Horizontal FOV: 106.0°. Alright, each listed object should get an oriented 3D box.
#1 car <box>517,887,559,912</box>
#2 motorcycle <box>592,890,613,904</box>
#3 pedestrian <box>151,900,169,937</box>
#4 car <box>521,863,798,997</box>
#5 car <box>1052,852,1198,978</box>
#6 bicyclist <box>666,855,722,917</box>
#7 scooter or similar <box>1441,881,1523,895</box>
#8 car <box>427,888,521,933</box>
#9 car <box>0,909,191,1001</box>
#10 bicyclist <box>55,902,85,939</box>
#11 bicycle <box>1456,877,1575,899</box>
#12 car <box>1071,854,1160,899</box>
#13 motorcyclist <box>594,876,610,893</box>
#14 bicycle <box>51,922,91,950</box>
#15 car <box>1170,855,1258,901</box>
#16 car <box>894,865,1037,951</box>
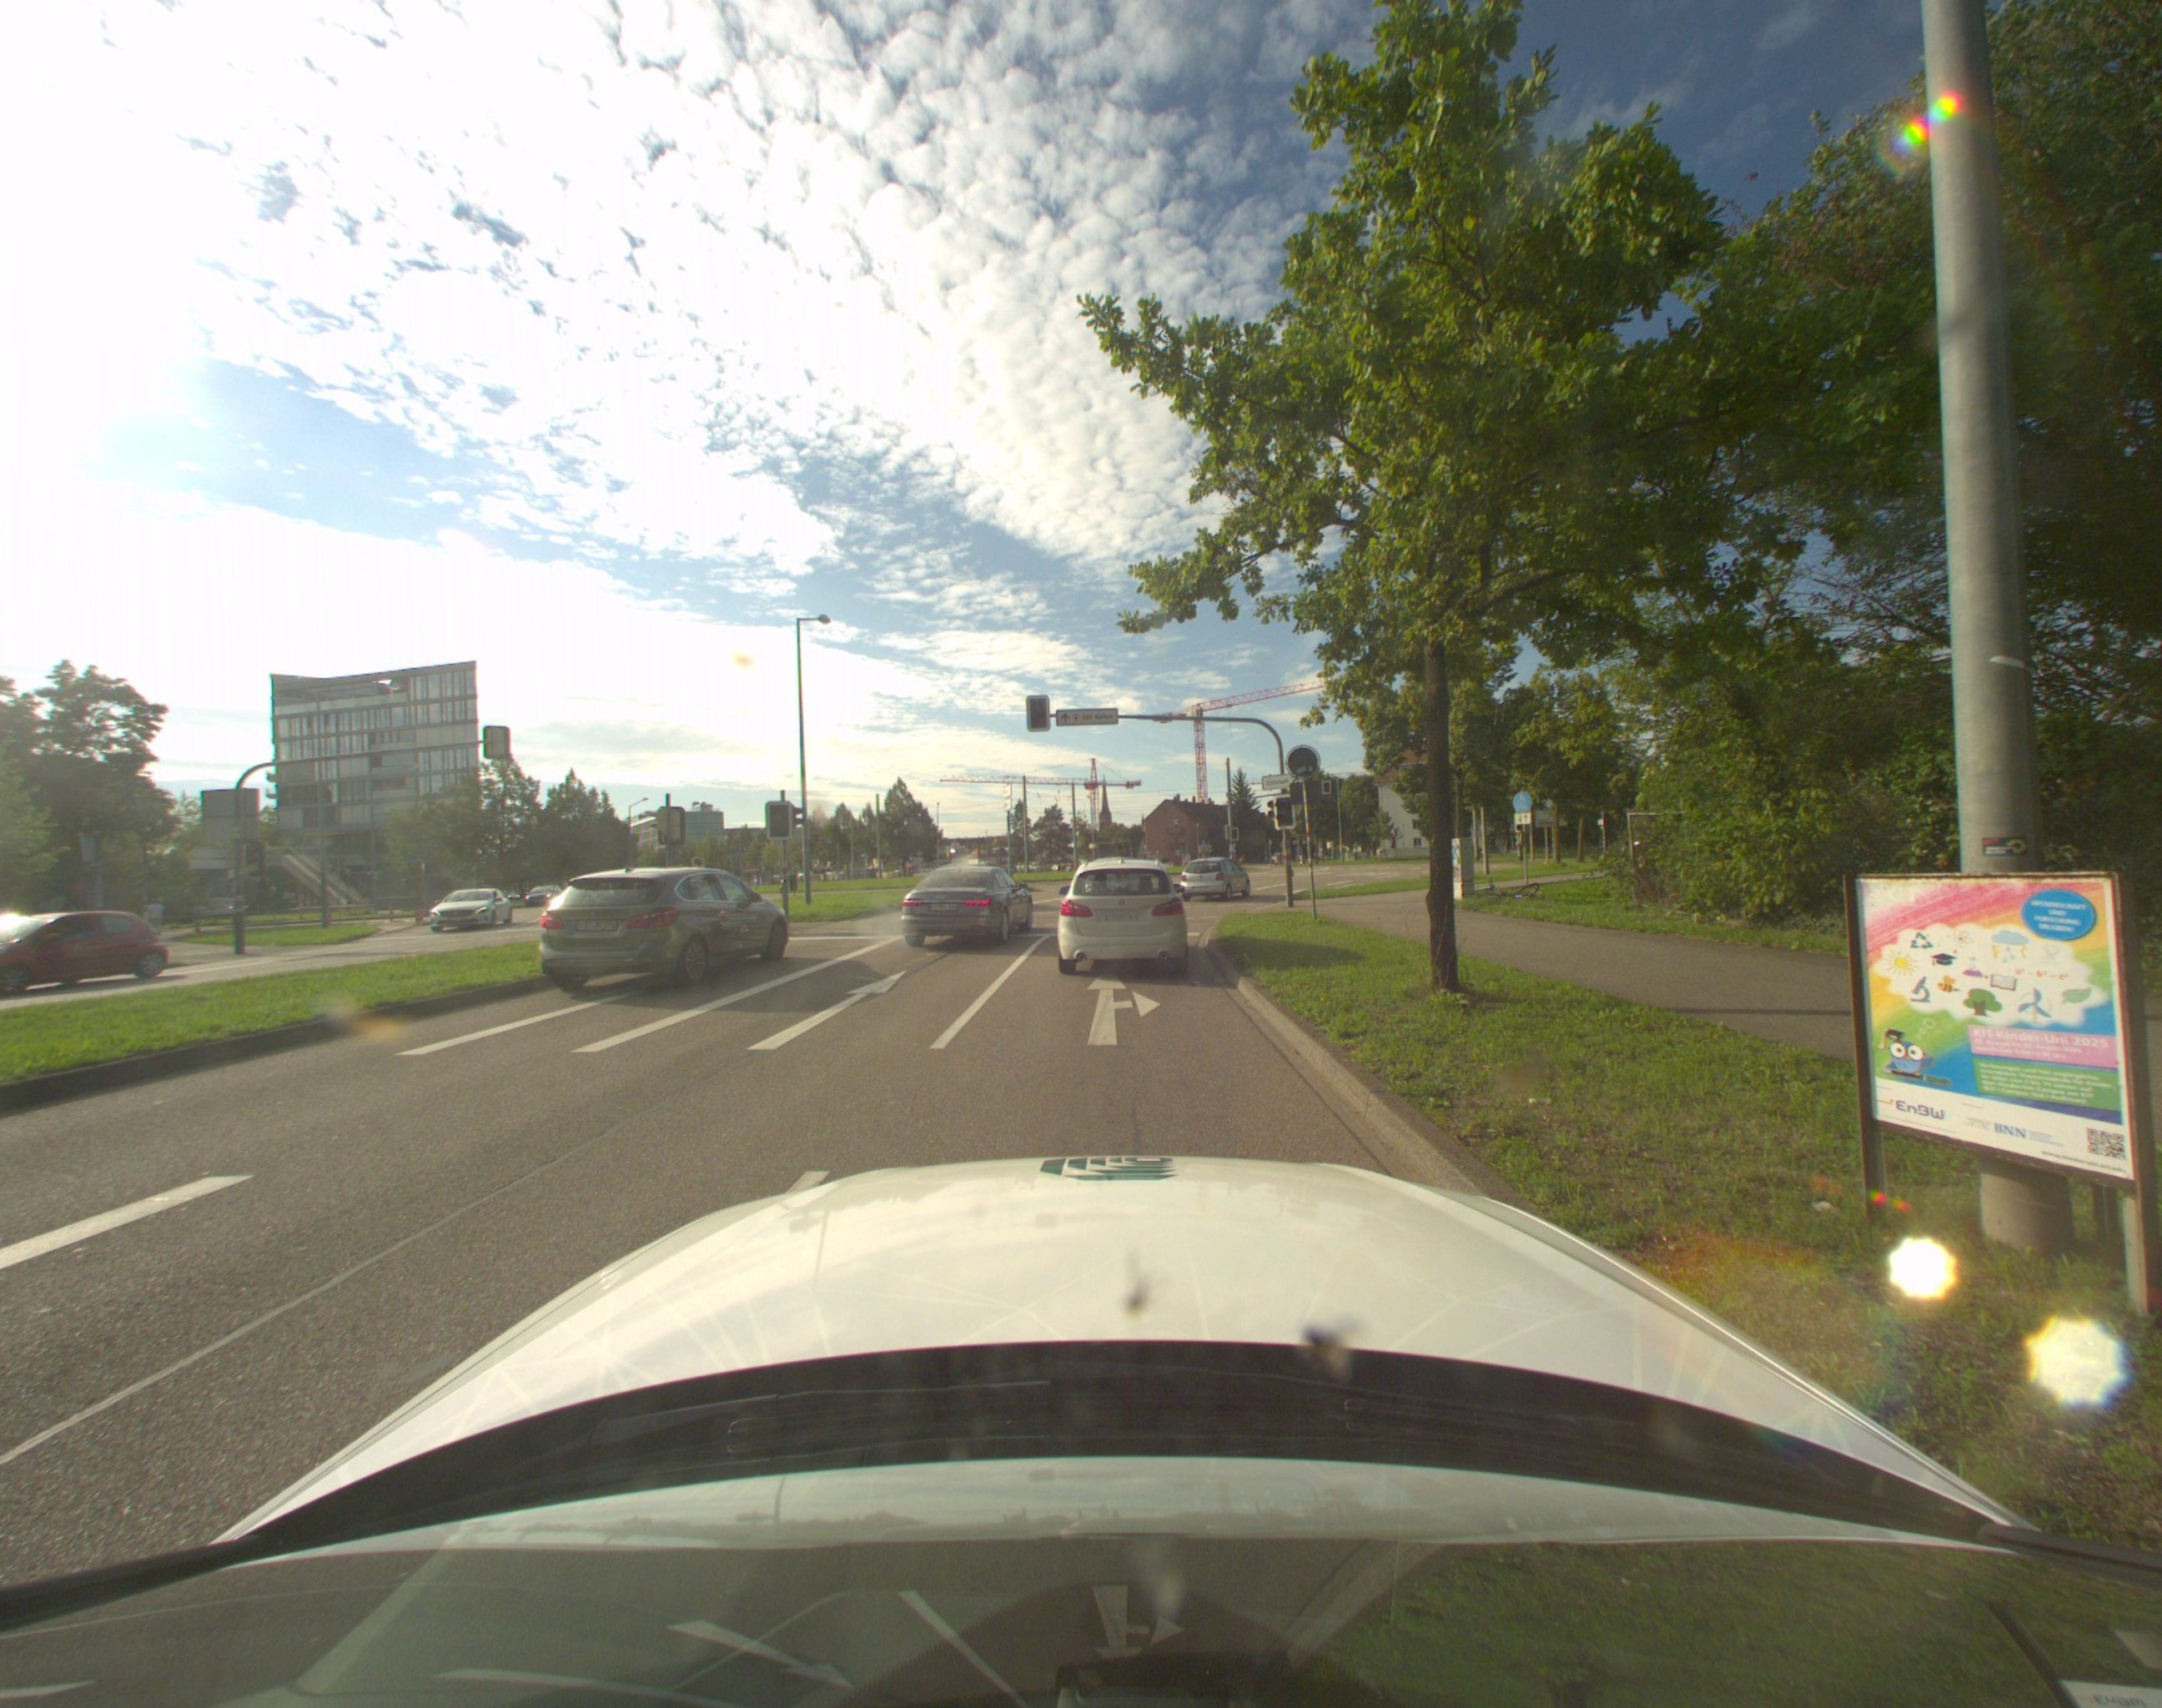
[{"bbox_3d":[-37.813,3.137,56.766,1.787,1.501,3.959,-4,0,-26],"label":"car"},{"bbox_3d":[-40.339,3.636,68.675,0.781,0.986,2.020,-1,1,-6],"label":"motorcycle"},{"bbox_3d":[-41.607,2.912,36.786,0.541,1.625,0.509,-3,-1,41],"label":"pedestrian"},{"bbox_3d":[-5.775,0.938,11.815,1.761,1.572,4.069,-1,-1,2],"label":"car"},{"bbox_3d":[0.636,0.813,12.696,1.843,1.572,4.456,-1,-1,2],"label":"car"},{"bbox_3d":[-10.141,0.813,21.364,0.858,1.556,0.999,-3,-1,6],"label":"bicyclist"},{"bbox_3d":[10.846,0.918,22.049,1.555,0.281,1.283,-3,-1,-23],"label":"scooter or similar"},{"bbox_3d":[-22.420,2.032,30.251,1.686,1.434,3.966,-2,-1,-21],"label":"car"},{"bbox_3d":[-19.624,1.885,15.431,1.677,1.434,3.585,-3,-1,-4],"label":"car"},{"bbox_3d":[-41.999,2.747,33.824,0.614,1.445,0.690,-2,-1,-37],"label":"bicyclist"},{"bbox_3d":[10.169,0.783,19.156,1.094,0.346,2.228,-2,2,-32],"label":"bicycle"},{"bbox_3d":[1.443,0.853,32.007,1.833,1.478,4.481,-2,1,25],"label":"car"},{"bbox_3d":[-40.395,2.582,68.695,0.781,1.366,0.941,-3,-1,-6],"label":"motorcyclist"},{"bbox_3d":[-42.025,3.410,33.904,0.614,0.988,1.816,-4,1,-39],"label":"bicycle"},{"bbox_3d":[4.815,0.805,28.846,1.833,1.426,4.481,-2,0,26],"label":"car"},{"bbox_3d":[-2.146,0.964,16.506,1.842,1.445,4.720,-1,-1,4],"label":"car"}]
